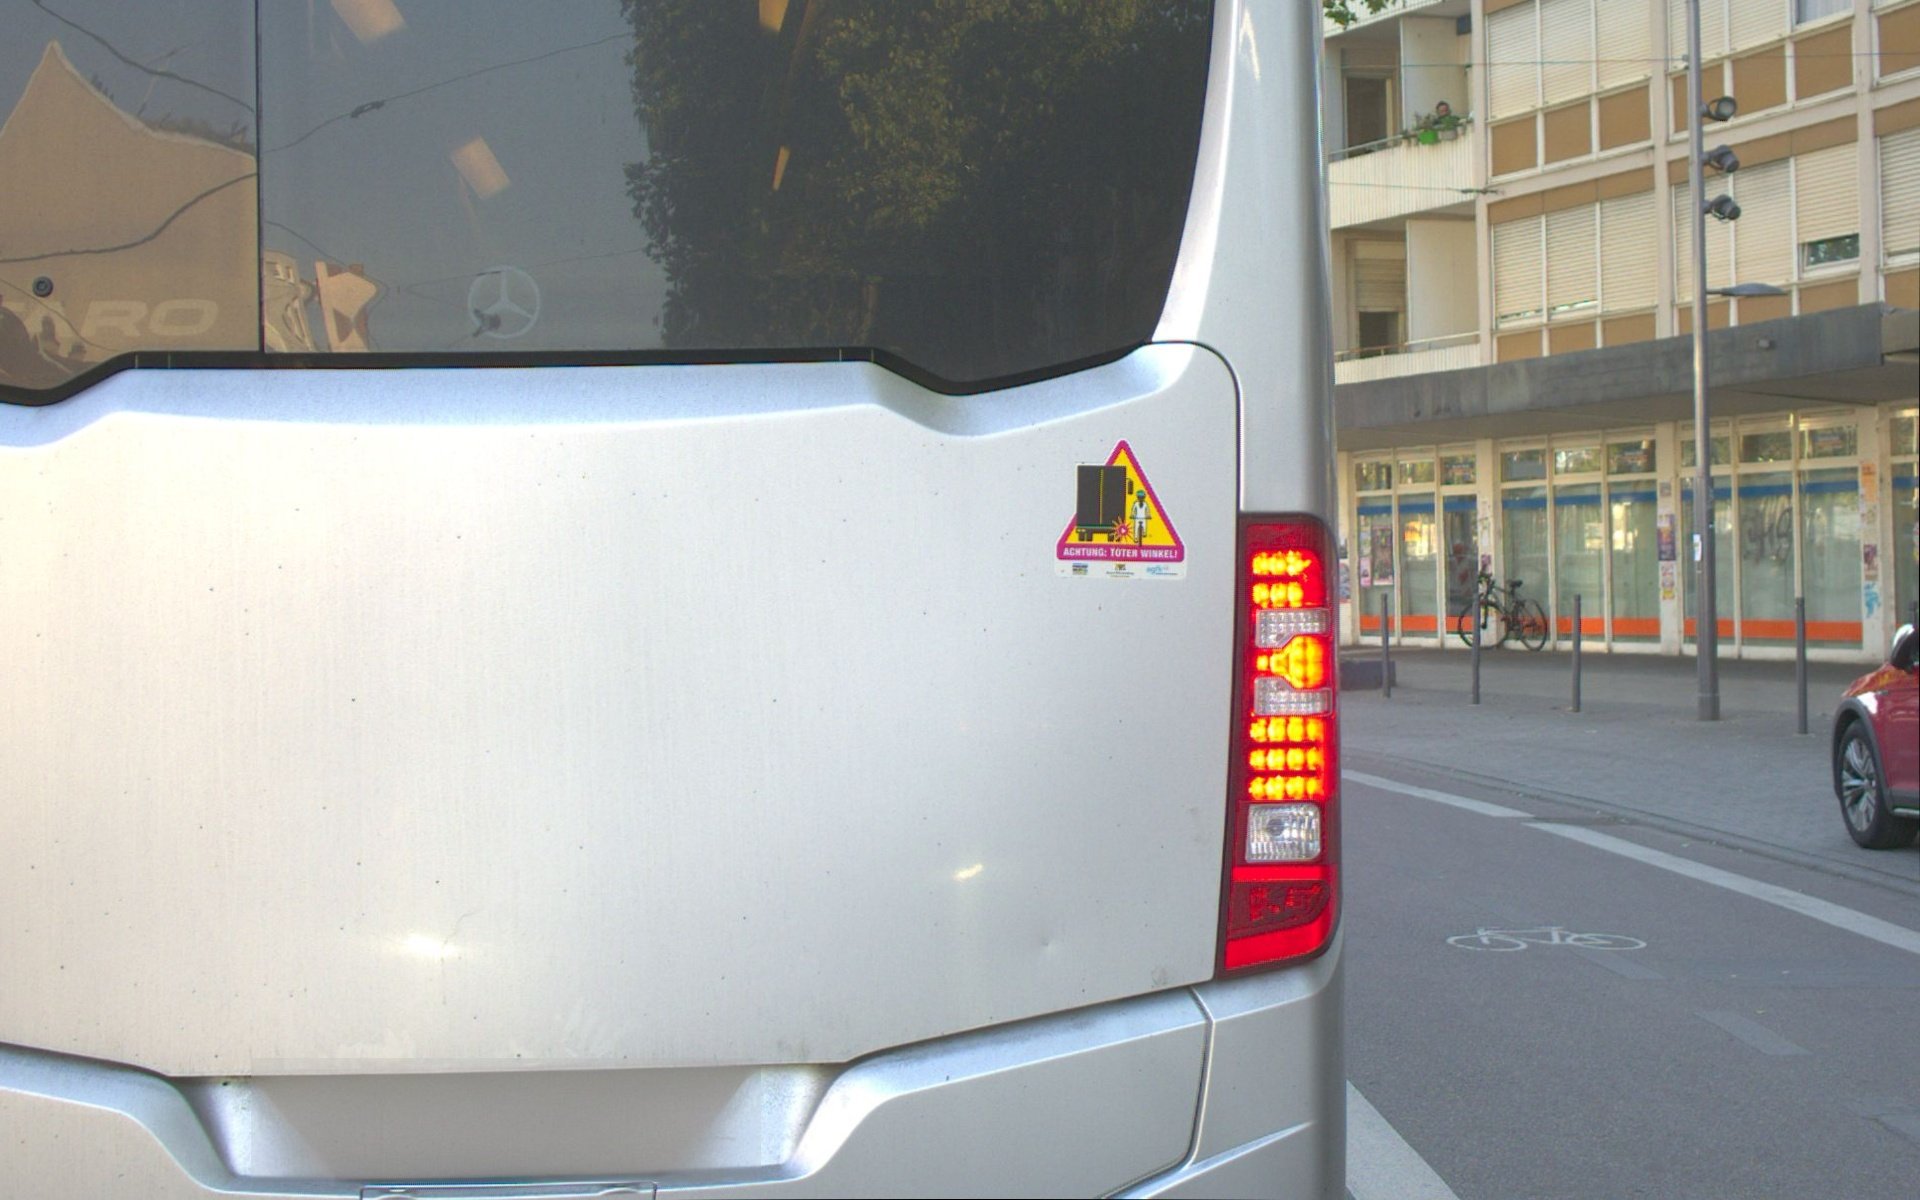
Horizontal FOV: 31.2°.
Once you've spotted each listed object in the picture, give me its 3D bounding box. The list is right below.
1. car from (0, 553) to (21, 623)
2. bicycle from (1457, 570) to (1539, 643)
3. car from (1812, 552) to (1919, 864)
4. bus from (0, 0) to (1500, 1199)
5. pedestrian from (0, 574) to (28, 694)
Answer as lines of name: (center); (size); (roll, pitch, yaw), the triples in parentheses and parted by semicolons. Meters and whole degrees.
car: (-25.929, -0.324, 88.211); (1.994, 1.785, 3.998); (1, 0, -41)
bicycle: (7.138, 0.086, 45.667); (0.412, 0.941, 1.441); (-1, 1, -20)
car: (5.519, 0.502, 15.875); (1.769, 1.477, 4.304); (-2, 1, -4)
bus: (-0.763, -0.143, 9.778); (2.630, 3.017, 9.998); (0, 1, -2)
pedestrian: (-11.708, 0.405, 41.586); (0.767, 1.445, 0.638); (1, 0, -10)
